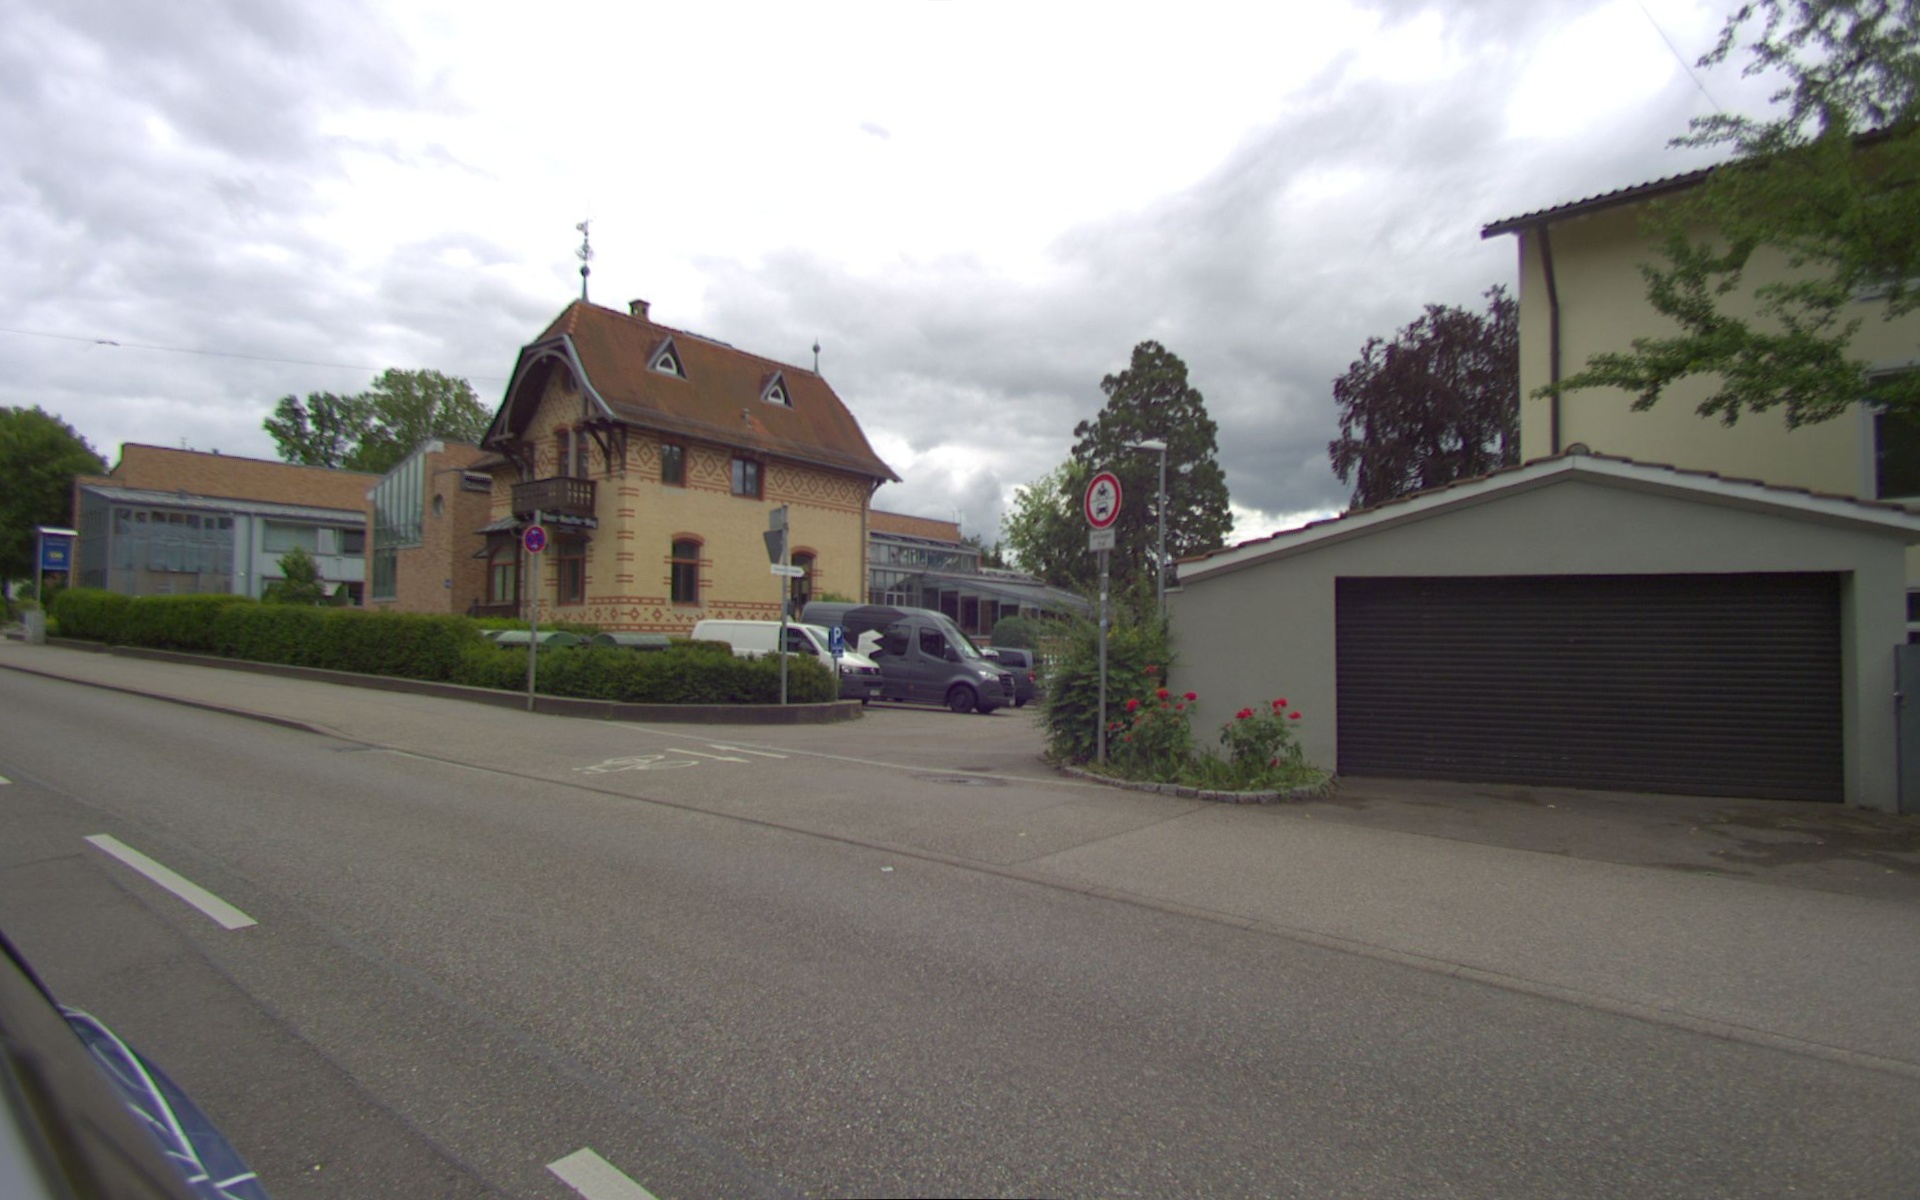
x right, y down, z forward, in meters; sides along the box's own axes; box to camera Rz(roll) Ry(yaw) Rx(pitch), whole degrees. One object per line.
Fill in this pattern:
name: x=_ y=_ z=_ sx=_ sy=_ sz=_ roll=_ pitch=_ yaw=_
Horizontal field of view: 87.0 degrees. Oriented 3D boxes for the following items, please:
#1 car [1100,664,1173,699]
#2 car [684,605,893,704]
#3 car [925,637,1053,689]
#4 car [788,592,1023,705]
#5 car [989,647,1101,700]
car: x=9.959 y=4.547 z=57.051 sx=3.781 sy=1.784 sz=1.661 roll=0 pitch=-2 yaw=26
car: x=-4.050 y=1.226 z=23.812 sx=4.591 sy=2.085 sz=1.878 roll=0 pitch=-2 yaw=26
car: x=0.928 y=2.002 z=32.669 sx=3.781 sy=1.488 sz=1.661 roll=0 pitch=-2 yaw=26
car: x=-1.399 y=1.188 z=25.951 sx=5.679 sy=2.639 sz=1.986 roll=1 pitch=-2 yaw=21
car: x=3.158 y=2.674 z=37.468 sx=3.781 sy=1.784 sz=1.661 roll=0 pitch=-2 yaw=26
